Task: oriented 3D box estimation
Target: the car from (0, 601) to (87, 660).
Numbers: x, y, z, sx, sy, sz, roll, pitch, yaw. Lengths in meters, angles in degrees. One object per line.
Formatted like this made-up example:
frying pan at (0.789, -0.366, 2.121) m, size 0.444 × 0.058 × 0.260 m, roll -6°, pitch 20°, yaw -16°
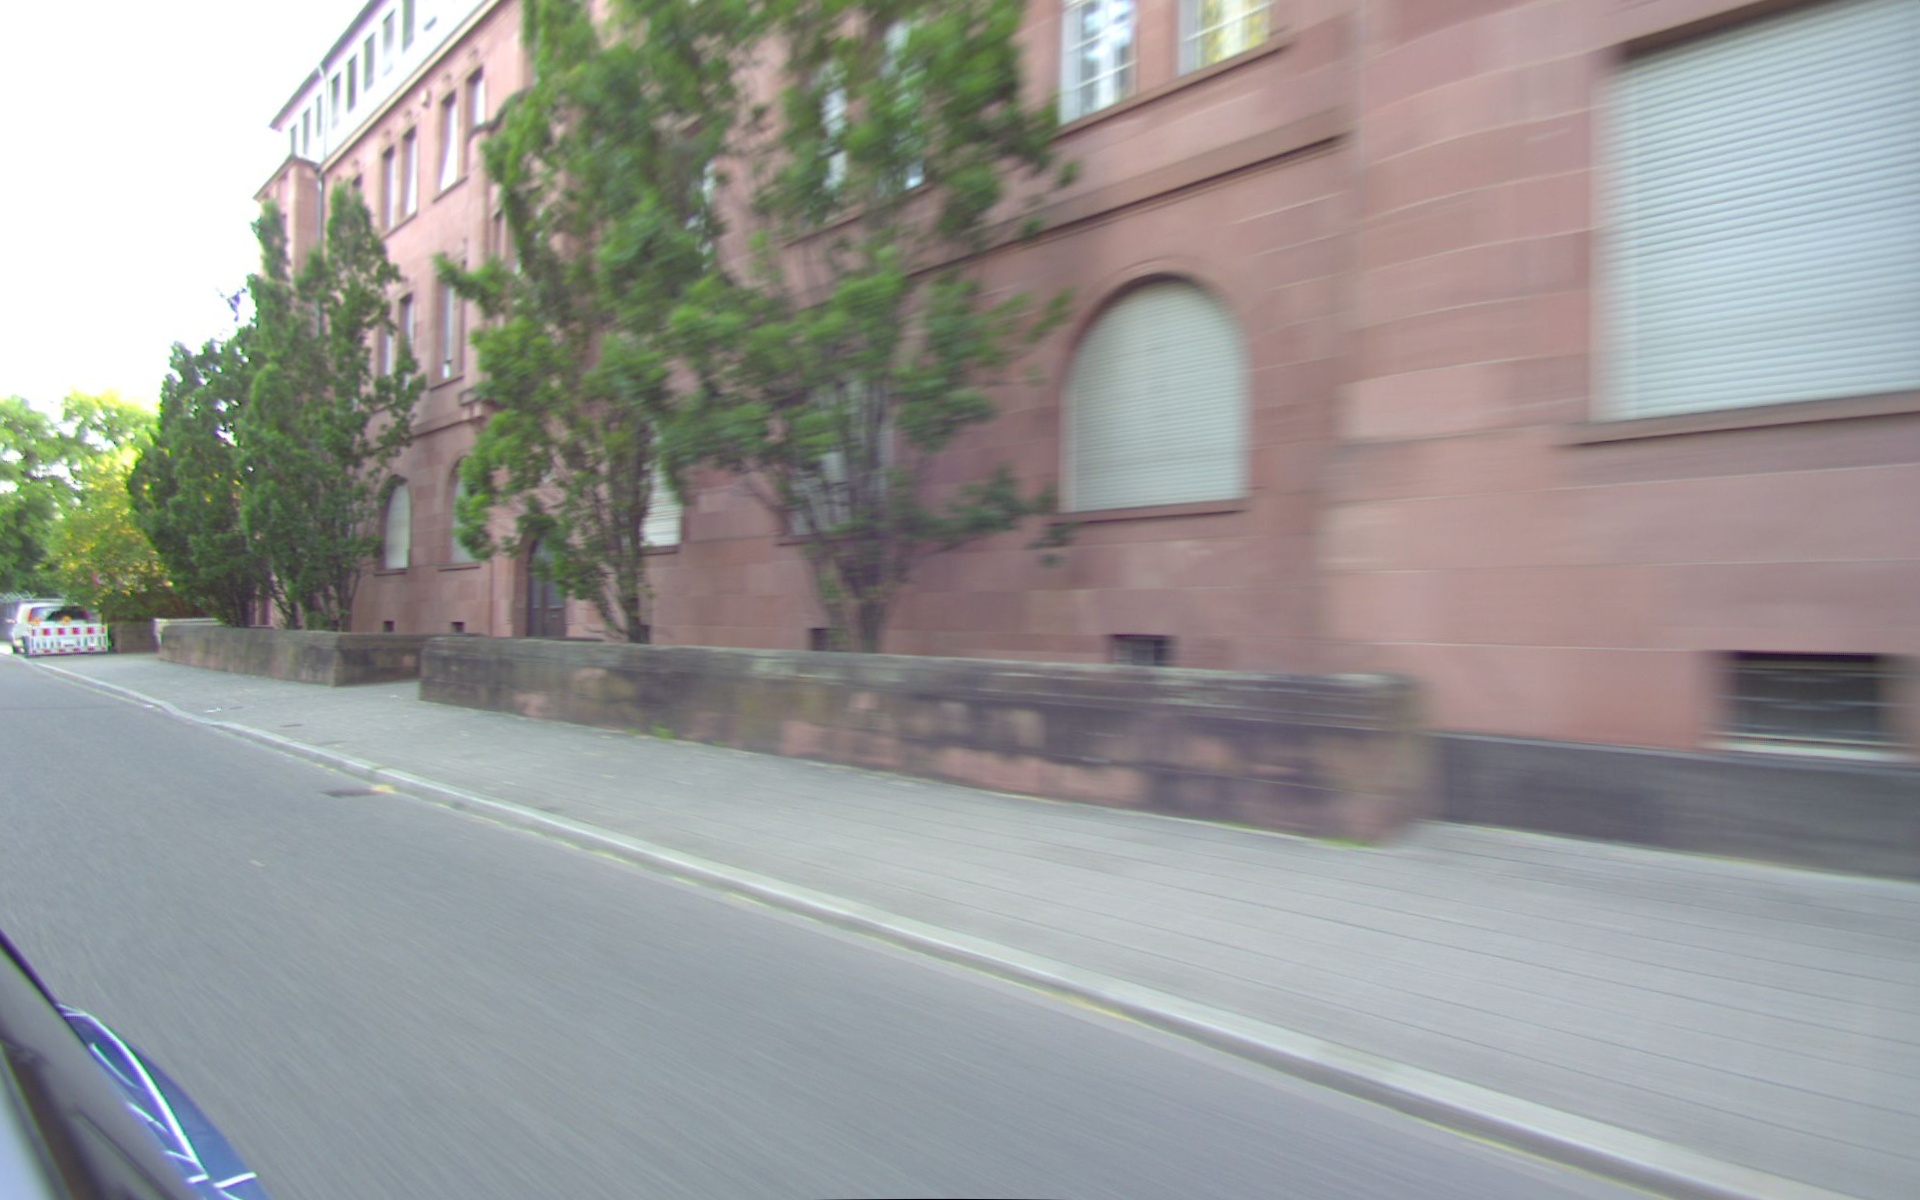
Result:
car at (-34.542, 1.109, 38.072) m, size 5.223 × 2.029 × 1.863 m, roll -1°, pitch 1°, yaw 41°
